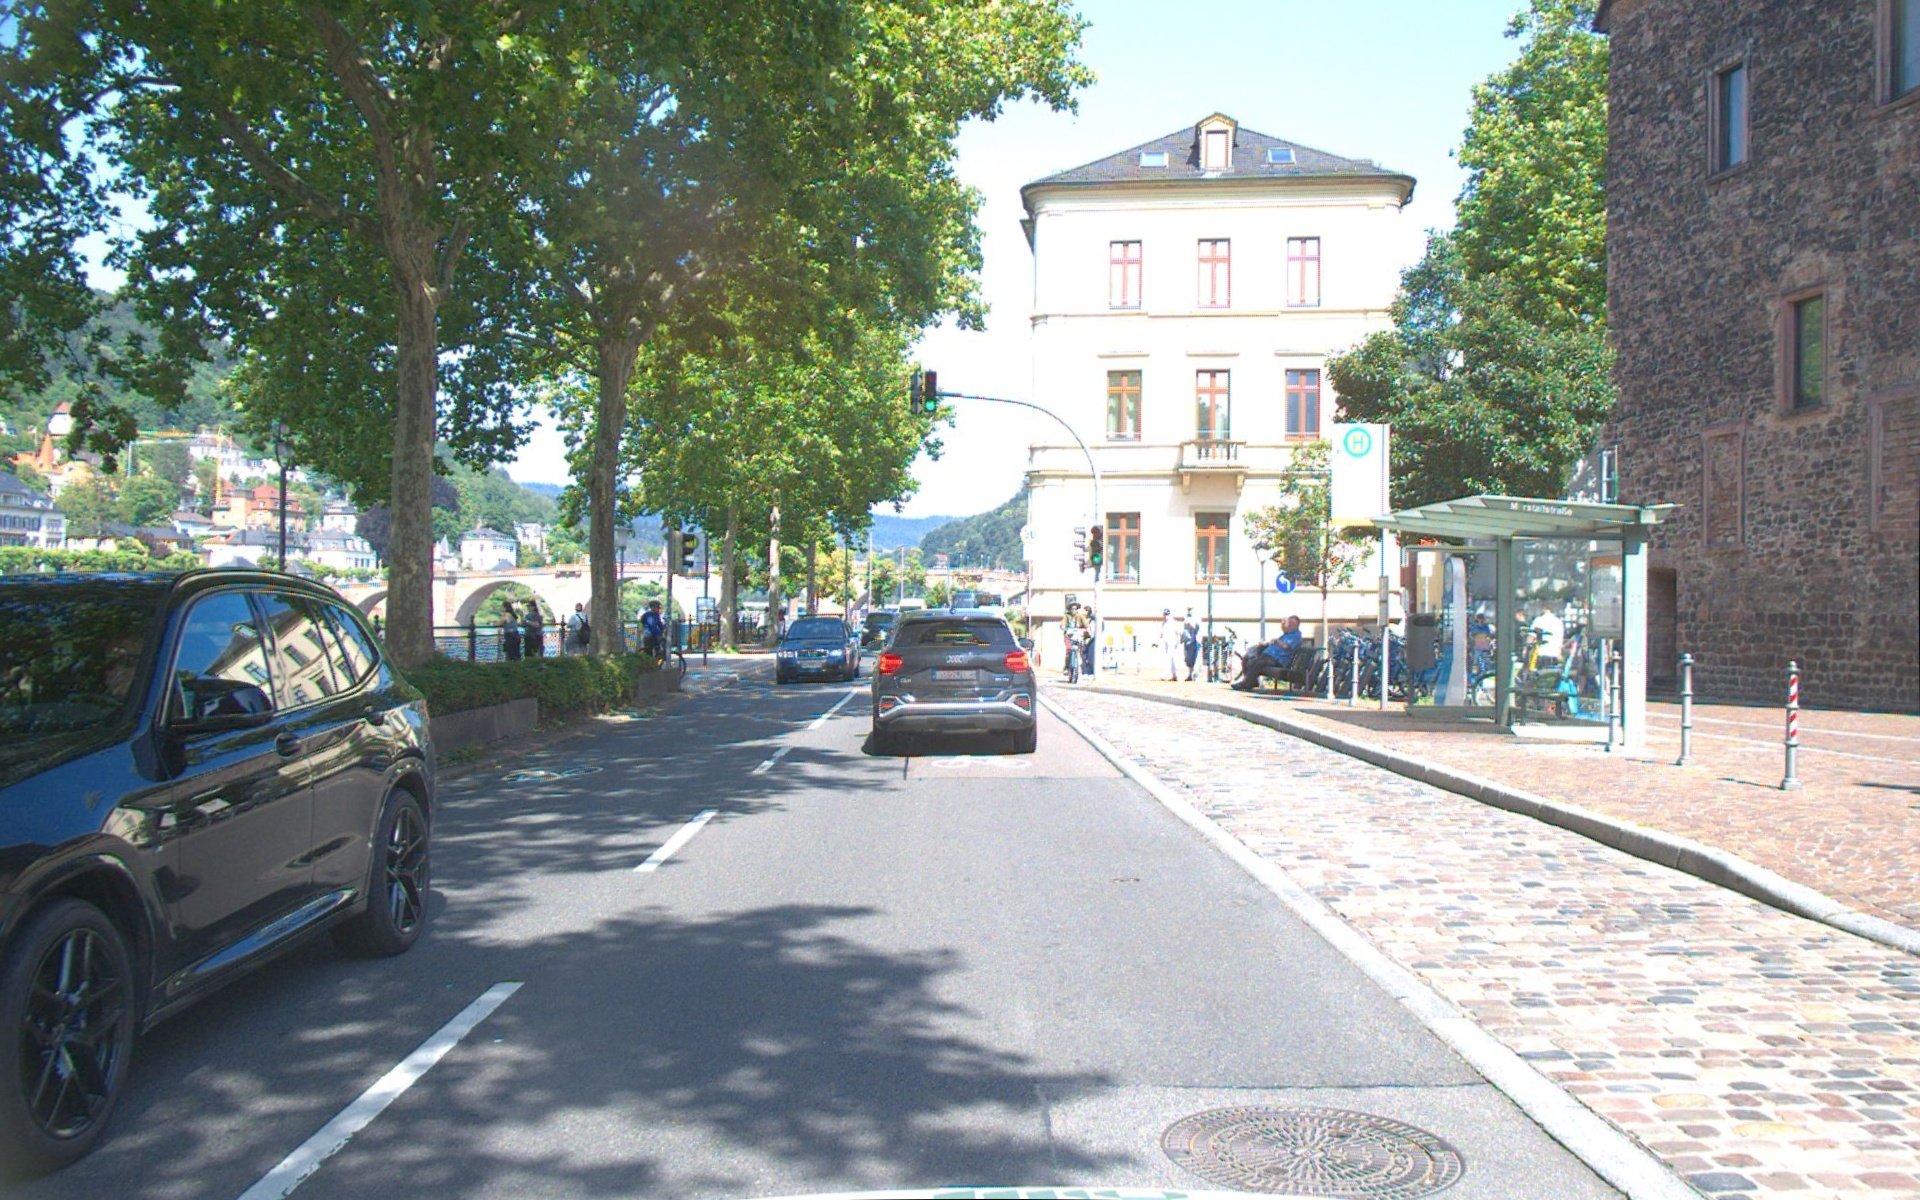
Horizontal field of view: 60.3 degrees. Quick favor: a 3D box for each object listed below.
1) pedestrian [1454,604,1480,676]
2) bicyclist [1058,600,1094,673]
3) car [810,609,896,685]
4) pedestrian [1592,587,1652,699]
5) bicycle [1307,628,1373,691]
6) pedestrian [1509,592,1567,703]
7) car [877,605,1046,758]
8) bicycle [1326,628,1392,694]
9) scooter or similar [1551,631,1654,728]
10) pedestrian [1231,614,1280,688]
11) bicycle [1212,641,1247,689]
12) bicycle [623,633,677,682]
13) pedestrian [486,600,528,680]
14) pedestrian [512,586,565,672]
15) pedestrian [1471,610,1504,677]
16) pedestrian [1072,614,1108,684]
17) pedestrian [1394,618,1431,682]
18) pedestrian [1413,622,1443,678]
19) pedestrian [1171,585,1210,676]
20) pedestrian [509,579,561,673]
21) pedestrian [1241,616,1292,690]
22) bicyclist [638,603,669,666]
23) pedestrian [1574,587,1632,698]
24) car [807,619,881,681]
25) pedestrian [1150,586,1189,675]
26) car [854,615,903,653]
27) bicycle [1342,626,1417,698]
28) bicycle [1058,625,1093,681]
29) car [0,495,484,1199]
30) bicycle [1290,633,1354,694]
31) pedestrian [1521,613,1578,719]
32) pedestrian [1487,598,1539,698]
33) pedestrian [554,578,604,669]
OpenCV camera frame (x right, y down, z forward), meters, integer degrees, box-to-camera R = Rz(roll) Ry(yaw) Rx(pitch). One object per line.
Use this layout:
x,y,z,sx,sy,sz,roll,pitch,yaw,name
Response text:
12.234,0.960,39.887,0.440,1.710,0.466,2,-1,2,pedestrian
2.378,0.748,34.056,0.593,1.475,0.590,3,-1,-5,bicyclist
-2.488,1.080,38.987,1.757,1.623,3.398,3,0,-1,car
12.462,0.811,31.164,0.715,2.049,0.878,3,-1,-1,pedestrian
6.651,1.048,28.919,1.184,1.053,0.178,3,-2,-19,bicycle
10.300,0.844,29.491,0.655,1.917,0.821,3,-1,-2,pedestrian
-0.002,0.828,18.564,1.707,1.535,3.646,0,0,-1,car
6.792,1.041,28.150,1.140,1.089,0.178,3,-2,-19,bicycle
7.597,0.939,19.565,1.067,1.084,0.323,3,-1,-2,scooter or similar
5.202,0.896,29.143,0.651,1.253,0.640,3,-1,-7,pedestrian
5.767,1.387,35.449,0.293,0.980,1.184,3,-1,-13,bicycle
-6.744,1.248,36.009,1.072,1.024,0.303,3,-2,-7,bicycle
-9.577,0.841,34.973,0.611,1.647,0.586,2,-1,4,pedestrian
-9.210,0.631,36.132,0.891,1.843,0.586,2,-1,4,pedestrian
12.722,1.048,39.864,0.609,1.558,0.466,2,-1,4,pedestrian
2.938,1.108,37.503,0.679,1.526,0.513,3,-1,-5,pedestrian
14.839,1.626,54.298,0.925,2.049,0.807,3,-1,0,pedestrian
17.541,1.884,62.016,0.822,2.049,0.738,3,-1,0,pedestrian
5.251,0.695,37.651,0.627,2.049,0.664,2,-2,29,pedestrian
-9.498,0.575,36.995,0.891,2.049,0.586,2,-1,4,pedestrian
5.266,0.910,28.434,0.651,1.233,0.640,3,-1,-7,pedestrian
-6.670,0.747,36.042,0.555,1.334,0.551,3,-1,-5,bicyclist
11.601,0.762,29.864,0.655,1.954,0.821,3,-1,-2,pedestrian
-3.707,1.601,53.450,1.952,1.838,4.000,3,-1,1,car
4.894,0.712,38.567,0.627,2.049,0.664,2,-2,29,pedestrian
-3.804,1.618,77.821,1.952,1.654,4.000,3,-1,1,car
6.956,1.031,27.440,1.284,1.147,0.178,3,-2,-19,bicycle
2.360,1.079,34.028,0.428,1.105,1.675,3,-1,-4,bicycle
-3.268,0.686,5.877,1.776,1.755,4.421,-4,0,0,car
6.472,1.140,29.568,1.166,1.033,0.178,3,-2,-19,bicycle
8.088,0.894,22.712,0.546,1.409,0.588,2,-1,2,pedestrian
10.317,0.887,30.887,0.638,1.834,0.847,2,-1,-1,pedestrian
-8.779,0.549,38.110,0.891,2.049,0.586,2,-1,4,pedestrian
